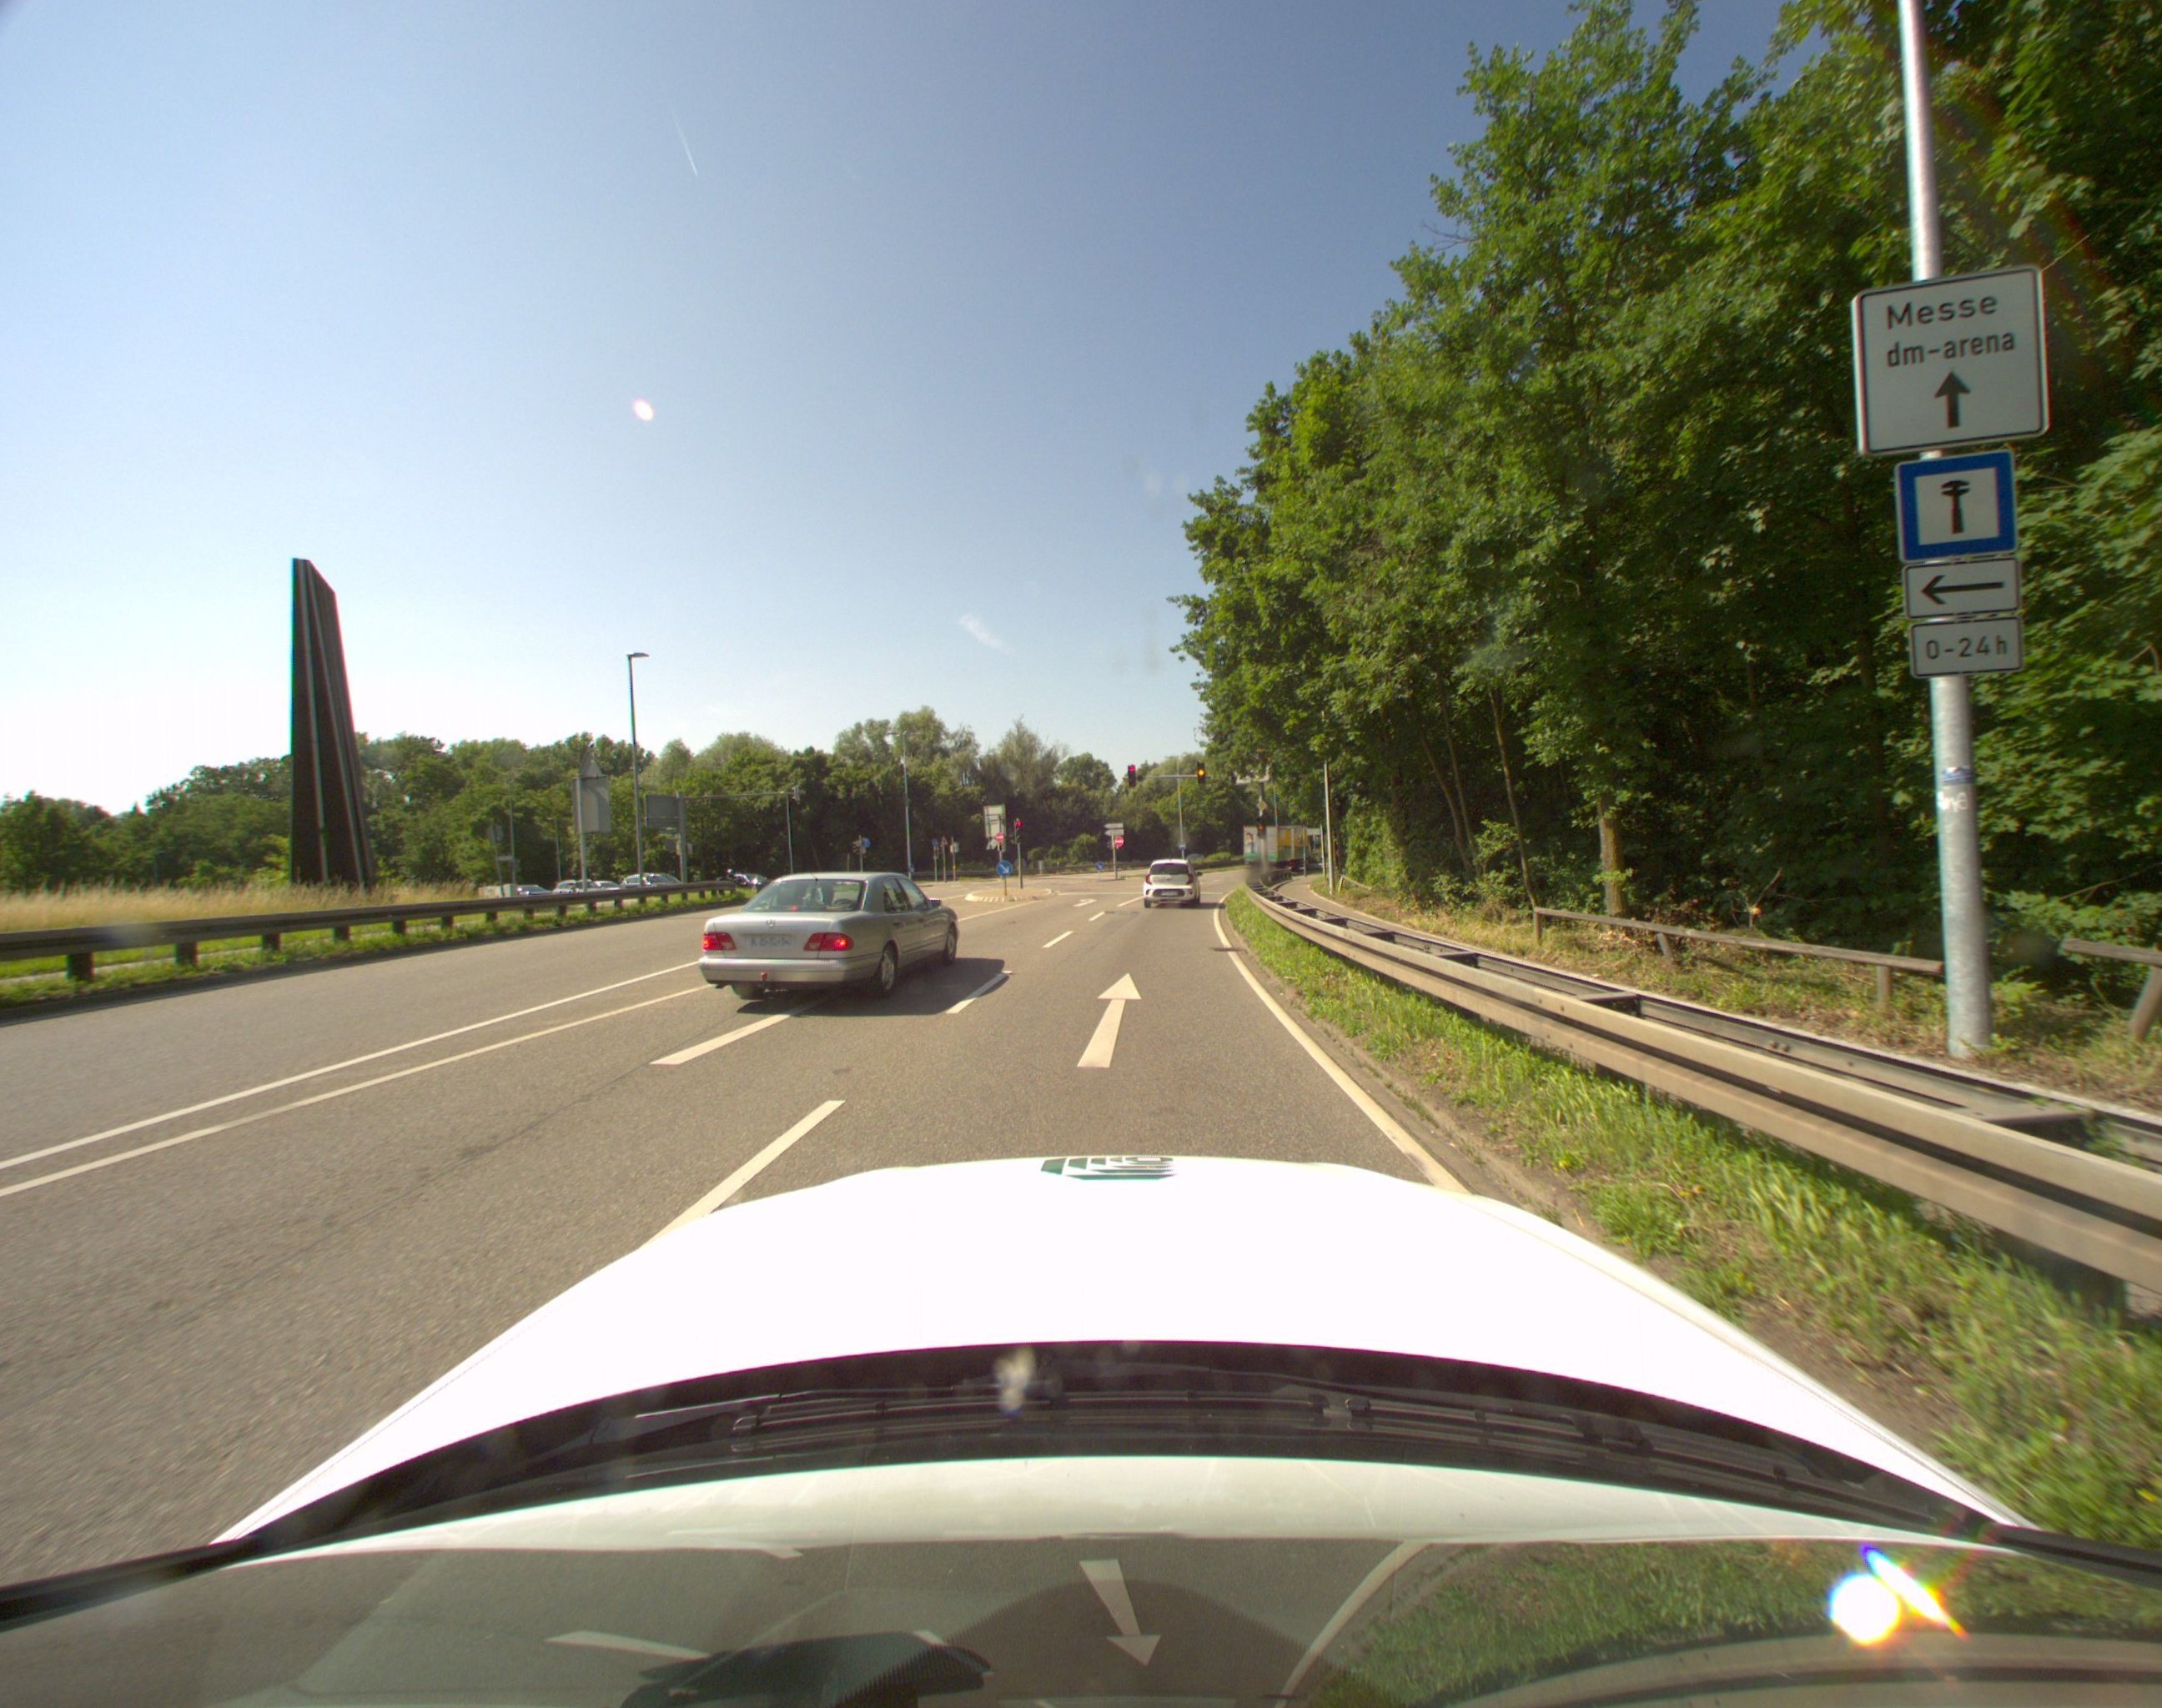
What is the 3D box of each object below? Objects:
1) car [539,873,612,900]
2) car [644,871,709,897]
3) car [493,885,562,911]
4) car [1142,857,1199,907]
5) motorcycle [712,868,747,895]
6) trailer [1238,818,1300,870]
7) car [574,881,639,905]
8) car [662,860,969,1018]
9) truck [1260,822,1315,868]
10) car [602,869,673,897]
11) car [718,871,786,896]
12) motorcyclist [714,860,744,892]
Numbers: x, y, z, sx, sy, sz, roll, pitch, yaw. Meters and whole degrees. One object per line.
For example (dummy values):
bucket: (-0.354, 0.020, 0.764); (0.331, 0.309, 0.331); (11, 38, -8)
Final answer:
car: (-31.716, 2.048, 51.076); (4.341, 1.389, 1.932); (-5, -4, 28)
car: (-26.008, 1.946, 52.348); (3.949, 1.389, 1.778); (-5, -4, 28)
car: (-36.619, 2.924, 53.866); (4.341, 1.389, 1.932); (-5, -4, 28)
car: (2.976, 0.873, 26.461); (1.692, 1.494, 4.009); (-1, -1, 8)
motorcycle: (-22.115, 1.756, 51.228); (1.958, 1.529, 0.904); (-5, -3, 26)
trailer: (14.783, -0.738, 63.489); (3.195, 3.758, 7.868); (1, 0, 24)
car: (-32.978, 2.708, 56.582); (3.949, 1.389, 2.136); (-5, -4, 28)
car: (-2.935, 0.849, 10.375); (1.930, 1.486, 4.906); (-1, 0, 5)
truck: (18.082, -0.703, 70.905); (3.231, 3.758, 8.417); (1, 0, 24)
car: (-26.013, 1.712, 47.742); (3.949, 1.389, 1.712); (-5, -4, 28)
car: (-21.824, 1.952, 53.995); (3.950, 1.222, 1.965); (-7, -4, 26)
motorcyclist: (-22.132, 1.390, 51.230); (1.446, 1.870, 0.897); (-5, -3, 26)
